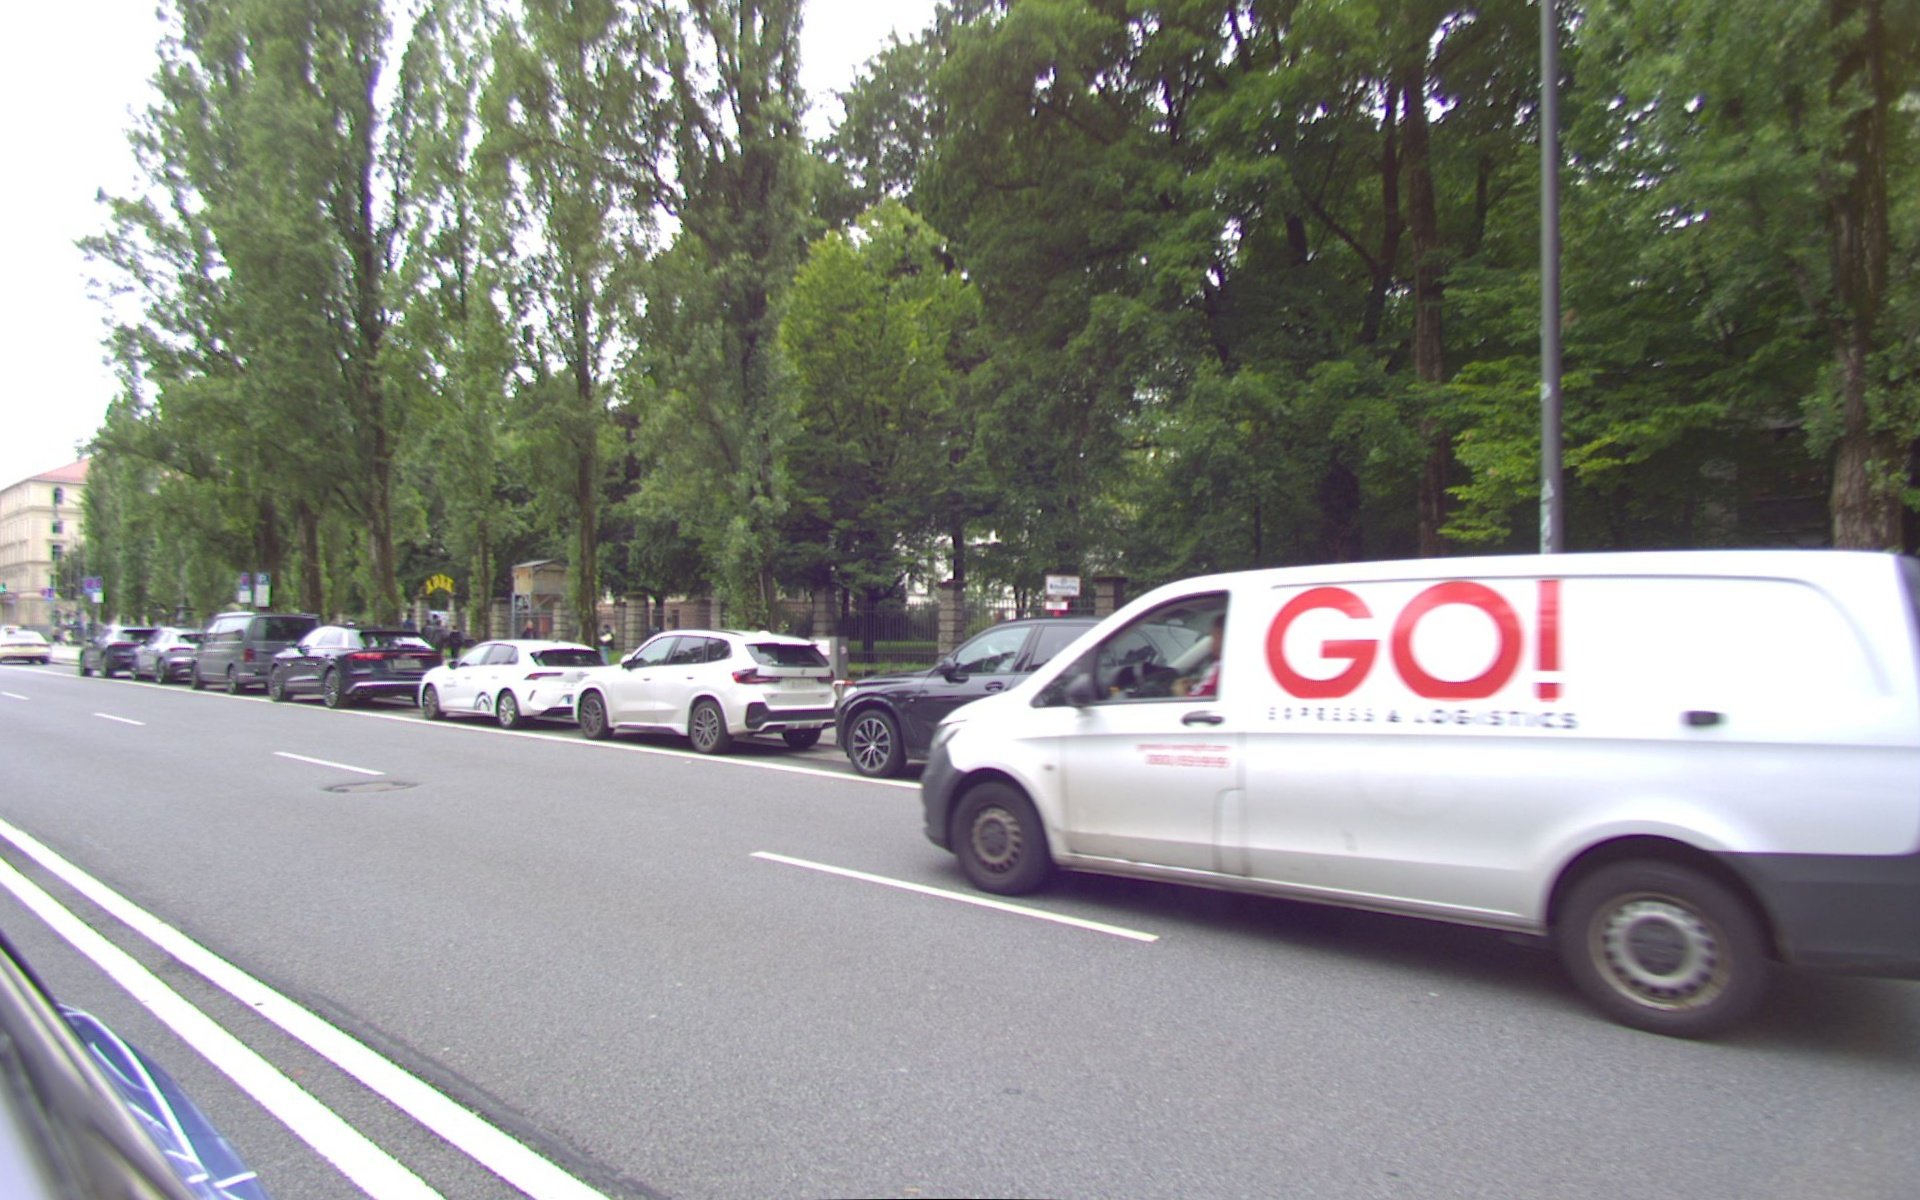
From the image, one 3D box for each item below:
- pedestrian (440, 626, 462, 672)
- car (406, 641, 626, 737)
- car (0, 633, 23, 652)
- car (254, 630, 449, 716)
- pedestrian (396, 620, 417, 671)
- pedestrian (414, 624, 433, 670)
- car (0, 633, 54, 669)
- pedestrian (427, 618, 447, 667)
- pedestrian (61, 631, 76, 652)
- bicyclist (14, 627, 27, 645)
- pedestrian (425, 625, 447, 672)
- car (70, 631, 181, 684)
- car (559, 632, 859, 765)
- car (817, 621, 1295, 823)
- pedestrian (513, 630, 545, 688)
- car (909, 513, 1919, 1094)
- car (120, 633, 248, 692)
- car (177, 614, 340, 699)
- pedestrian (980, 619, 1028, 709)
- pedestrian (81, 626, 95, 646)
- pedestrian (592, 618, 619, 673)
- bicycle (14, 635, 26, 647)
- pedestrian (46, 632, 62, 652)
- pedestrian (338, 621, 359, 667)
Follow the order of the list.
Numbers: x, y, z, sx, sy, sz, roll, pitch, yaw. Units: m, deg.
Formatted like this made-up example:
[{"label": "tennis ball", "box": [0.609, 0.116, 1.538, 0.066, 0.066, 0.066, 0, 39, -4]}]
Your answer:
[{"label": "pedestrian", "box": [-19.056, 1.827, 37.895, 0.531, 1.682, 0.544, -1, -2, 37]}, {"label": "car", "box": [-7.765, 1.463, 17.534, 4.231, 1.433, 1.660, -1, -4, 38]}, {"label": "car", "box": [-96.848, 4.310, 102.686, 4.987, 1.869, 1.979, -1, -3, 40]}, {"label": "car", "box": [-12.936, 1.477, 21.399, 5.046, 1.621, 1.798, -1, -5, 38]}, {"label": "pedestrian", "box": [-21.990, 1.799, 40.228, 0.531, 1.974, 0.544, -1, -2, 37]}, {"label": "pedestrian", "box": [-21.479, 1.871, 40.530, 0.611, 1.849, 0.429, -2, -2, 38]}, {"label": "car", "box": [-41.503, 2.227, 44.358, 4.785, 1.509, 1.912, -3, -4, 39]}, {"label": "pedestrian", "box": [-21.363, 1.729, 41.311, 0.531, 1.974, 0.544, -1, -2, 37]}, {"label": "pedestrian", "box": [-73.997, 3.459, 83.996, 0.833, 1.691, 0.969, 1, -3, -35]}, {"label": "bicyclist", "box": [-78.058, 2.973, 84.068, 0.685, 1.510, 0.863, 2, -3, -41]}, {"label": "pedestrian", "box": [-19.374, 1.775, 37.434, 0.531, 1.714, 0.544, -1, -2, 37]}, {"label": "car", "box": [-26.913, 1.835, 32.600, 4.607, 1.608, 1.765, -2, -5, 38]}, {"label": "car", "box": [-3.648, 1.298, 14.316, 4.456, 1.601, 1.768, -2, -5, 39]}, {"label": "car", "box": [0.855, 1.129, 10.593, 4.710, 1.671, 1.862, -2, -5, 37]}, {"label": "pedestrian", "box": [-13.022, 1.775, 30.560, 0.785, 1.733, 0.577, -2, -2, 37]}, {"label": "car", "box": [2.579, 0.754, 5.221, 5.689, 1.906, 2.161, -1, -4, 39]}, {"label": "car", "box": [-22.991, 1.807, 29.935, 4.648, 1.596, 1.872, -2, -4, 38]}, {"label": "car", "box": [-17.884, 1.416, 25.717, 4.930, 1.971, 1.974, -2, -4, 38]}, {"label": "pedestrian", "box": [0.903, 1.311, 21.011, 0.774, 1.829, 0.634, -2, -2, 38]}, {"label": "pedestrian", "box": [-92.278, 3.822, 107.089, 0.746, 2.029, 0.794, 0, -2, 3]}, {"label": "pedestrian", "box": [-11.525, 1.469, 32.921, 0.672, 1.761, 0.544, -1, -2, 37]}, {"label": "bicycle", "box": [-78.039, 3.391, 84.036, 0.699, 0.946, 1.737, 1, -2, -41]}, {"label": "pedestrian", "box": [-74.777, 3.455, 83.570, 0.833, 1.691, 0.969, 1, -3, -35]}, {"label": "pedestrian", "box": [-24.009, 1.727, 39.762, 0.531, 1.761, 0.544, -1, -2, 37]}]
